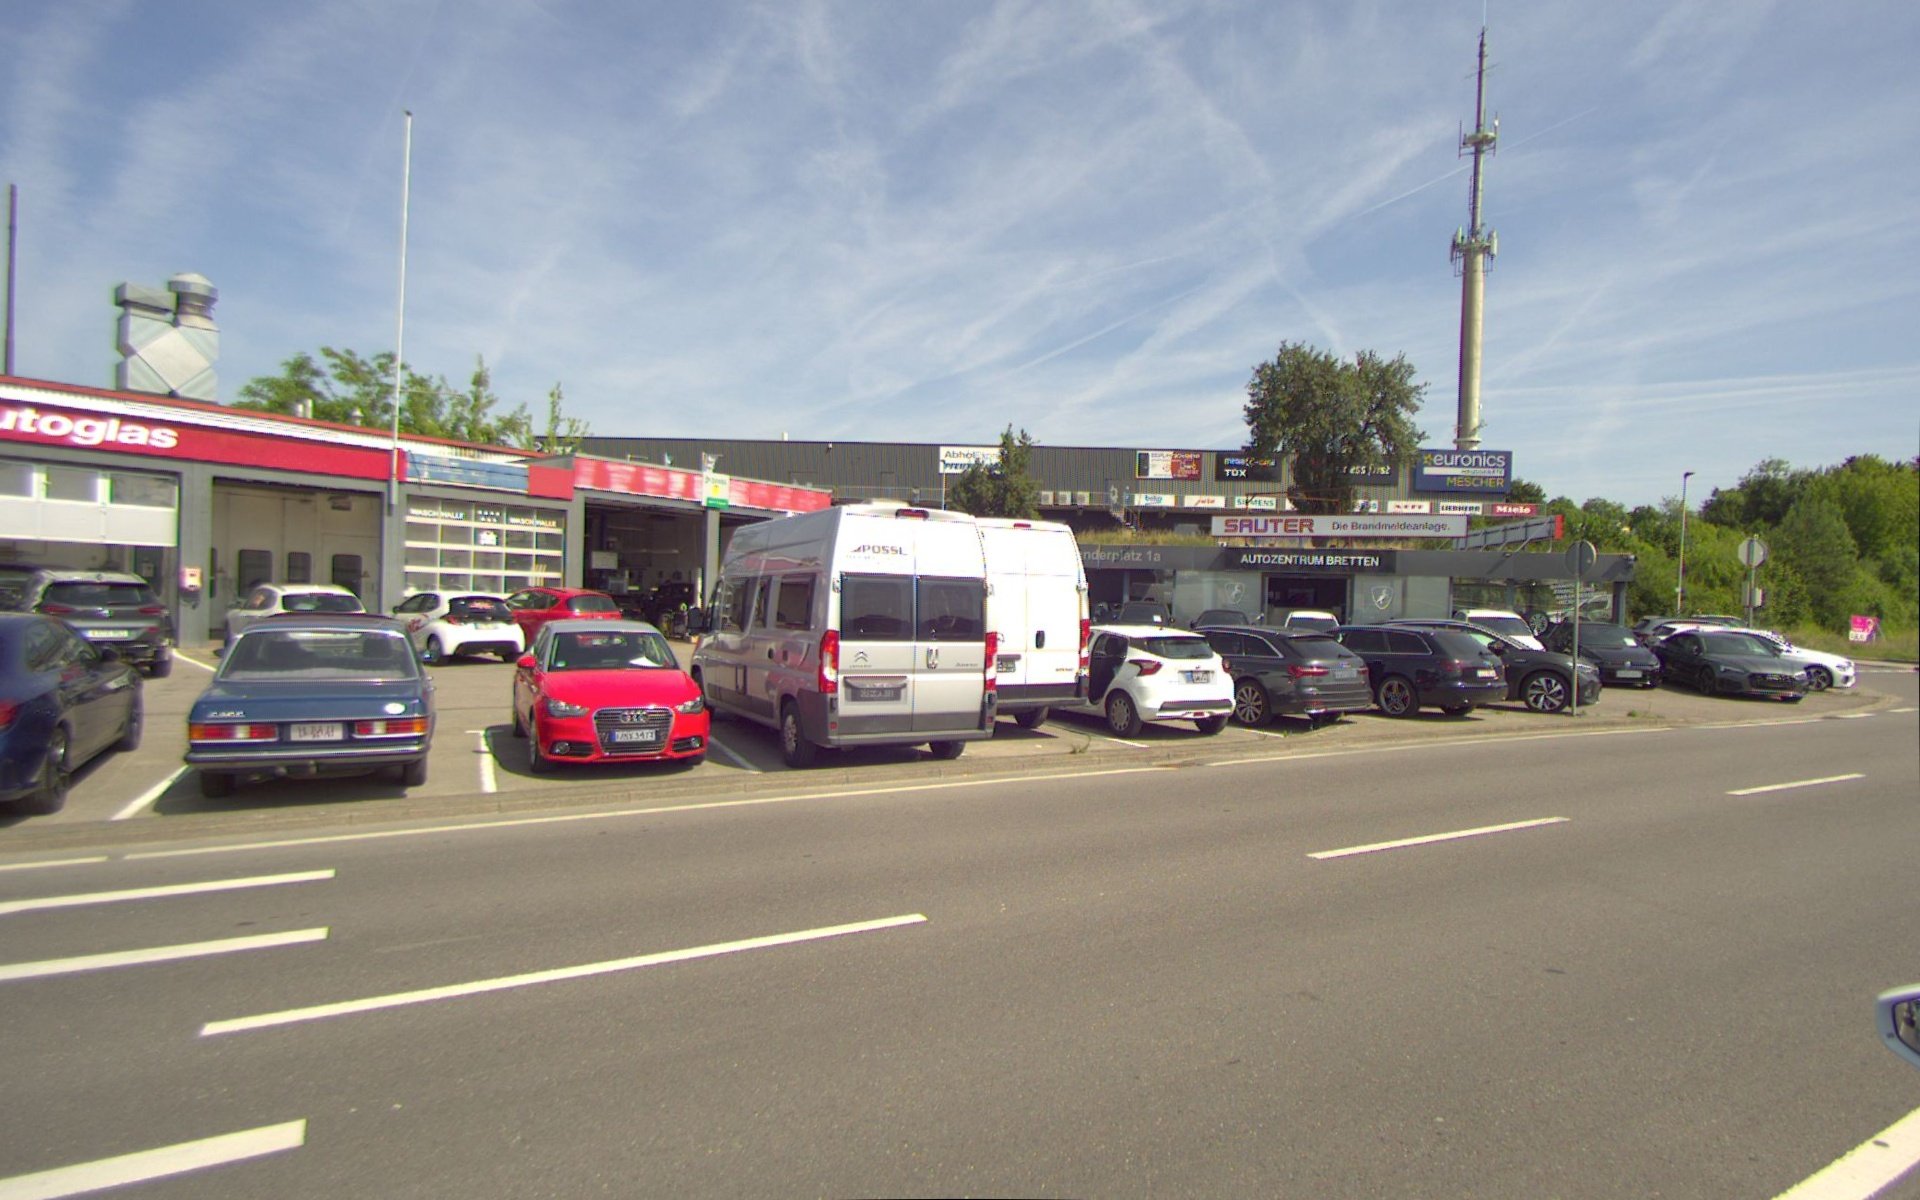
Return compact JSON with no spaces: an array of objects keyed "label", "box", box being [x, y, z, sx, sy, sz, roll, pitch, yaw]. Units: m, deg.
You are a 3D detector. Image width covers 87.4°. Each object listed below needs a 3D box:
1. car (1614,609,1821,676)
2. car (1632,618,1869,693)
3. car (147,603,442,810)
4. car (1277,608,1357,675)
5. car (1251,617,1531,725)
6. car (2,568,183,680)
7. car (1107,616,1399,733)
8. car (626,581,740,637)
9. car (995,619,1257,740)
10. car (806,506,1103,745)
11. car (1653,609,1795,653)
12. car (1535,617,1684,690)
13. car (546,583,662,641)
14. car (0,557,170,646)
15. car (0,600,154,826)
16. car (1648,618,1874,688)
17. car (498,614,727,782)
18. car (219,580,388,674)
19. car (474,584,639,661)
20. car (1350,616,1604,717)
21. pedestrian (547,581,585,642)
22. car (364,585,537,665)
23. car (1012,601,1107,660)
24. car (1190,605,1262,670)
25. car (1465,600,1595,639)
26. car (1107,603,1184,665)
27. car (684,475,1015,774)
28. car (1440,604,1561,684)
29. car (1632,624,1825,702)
[{"label":"car","box":[23.485,1.270,31.377,4.702,1.647,1.932,4,1,19]},{"label":"car","box":[21.137,1.426,27.141,4.629,1.495,1.890,4,2,27]},{"label":"car","box":[-6.005,0.792,9.527,1.850,1.487,4.230,1,-1,-28]},{"label":"car","box":[9.701,1.064,27.522,1.791,1.544,4.144,2,1,16]},{"label":"car","box":[7.226,1.112,17.237,2.007,1.550,4.015,1,-1,-30]},{"label":"car","box":[-14.530,0.343,16.760,3.943,1.641,1.865,1,0,43]},{"label":"car","box":[4.541,1.082,16.231,2.006,1.550,4.345,1,-1,-31]},{"label":"car","box":[-9.601,0.298,34.712,4.038,1.831,1.744,1,-1,38]},{"label":"car","box":[2.314,1.075,15.038,1.858,1.489,3.971,1,-1,-28]},{"label":"car","box":[-0.381,0.318,15.100,2.089,2.876,5.686,0,0,-28]},{"label":"car","box":[33.810,1.354,44.598,4.543,1.548,1.916,4,2,16]},{"label":"car","box":[16.400,1.275,25.644,1.762,1.507,4.346,2,1,13]},{"label":"car","box":[-11.159,0.351,31.344,1.856,1.583,4.048,2,1,-44]},{"label":"car","box":[-18.615,0.025,19.960,4.439,1.676,1.851,2,0,-44]},{"label":"car","box":[-8.038,0.741,7.972,1.883,1.473,3.969,1,-1,-29]},{"label":"car","box":[22.963,1.476,29.046,4.624,1.533,1.955,4,2,20]},{"label":"car","box":[-3.991,0.919,11.107,1.805,1.450,3.923,1,-1,-28]},{"label":"car","box":[-12.755,0.454,19.435,1.976,1.628,3.946,1,0,-45]},{"label":"car","box":[-9.566,0.492,23.727,3.937,1.639,1.910,1,0,38]},{"label":"car","box":[9.796,1.180,19.124,4.112,1.644,2.025,1,-1,33]},{"label":"pedestrian","box":[-11.814,0.339,30.116,0.855,1.750,0.739,4,1,44]},{"label":"car","box":[-11.052,0.489,21.727,3.882,1.540,1.876,1,0,38]},{"label":"car","box":[3.085,0.856,30.279,1.855,1.544,4.344,2,1,19]},{"label":"car","box":[7.600,0.992,28.546,1.779,1.544,4.345,2,1,16]},{"label":"car","box":[26.377,0.902,46.671,4.874,1.437,1.950,4,0,16]},{"label":"car","box":[5.516,0.934,29.518,1.774,1.544,4.099,2,1,16]},{"label":"car","box":[-1.683,0.258,12.401,2.150,2.809,5.544,1,-1,-28]},{"label":"car","box":[14.103,1.063,26.473,1.855,1.772,4.470,2,1,16]},{"label":"car","box":[18.369,1.428,24.309,1.934,1.455,4.643,2,1,13]}]
